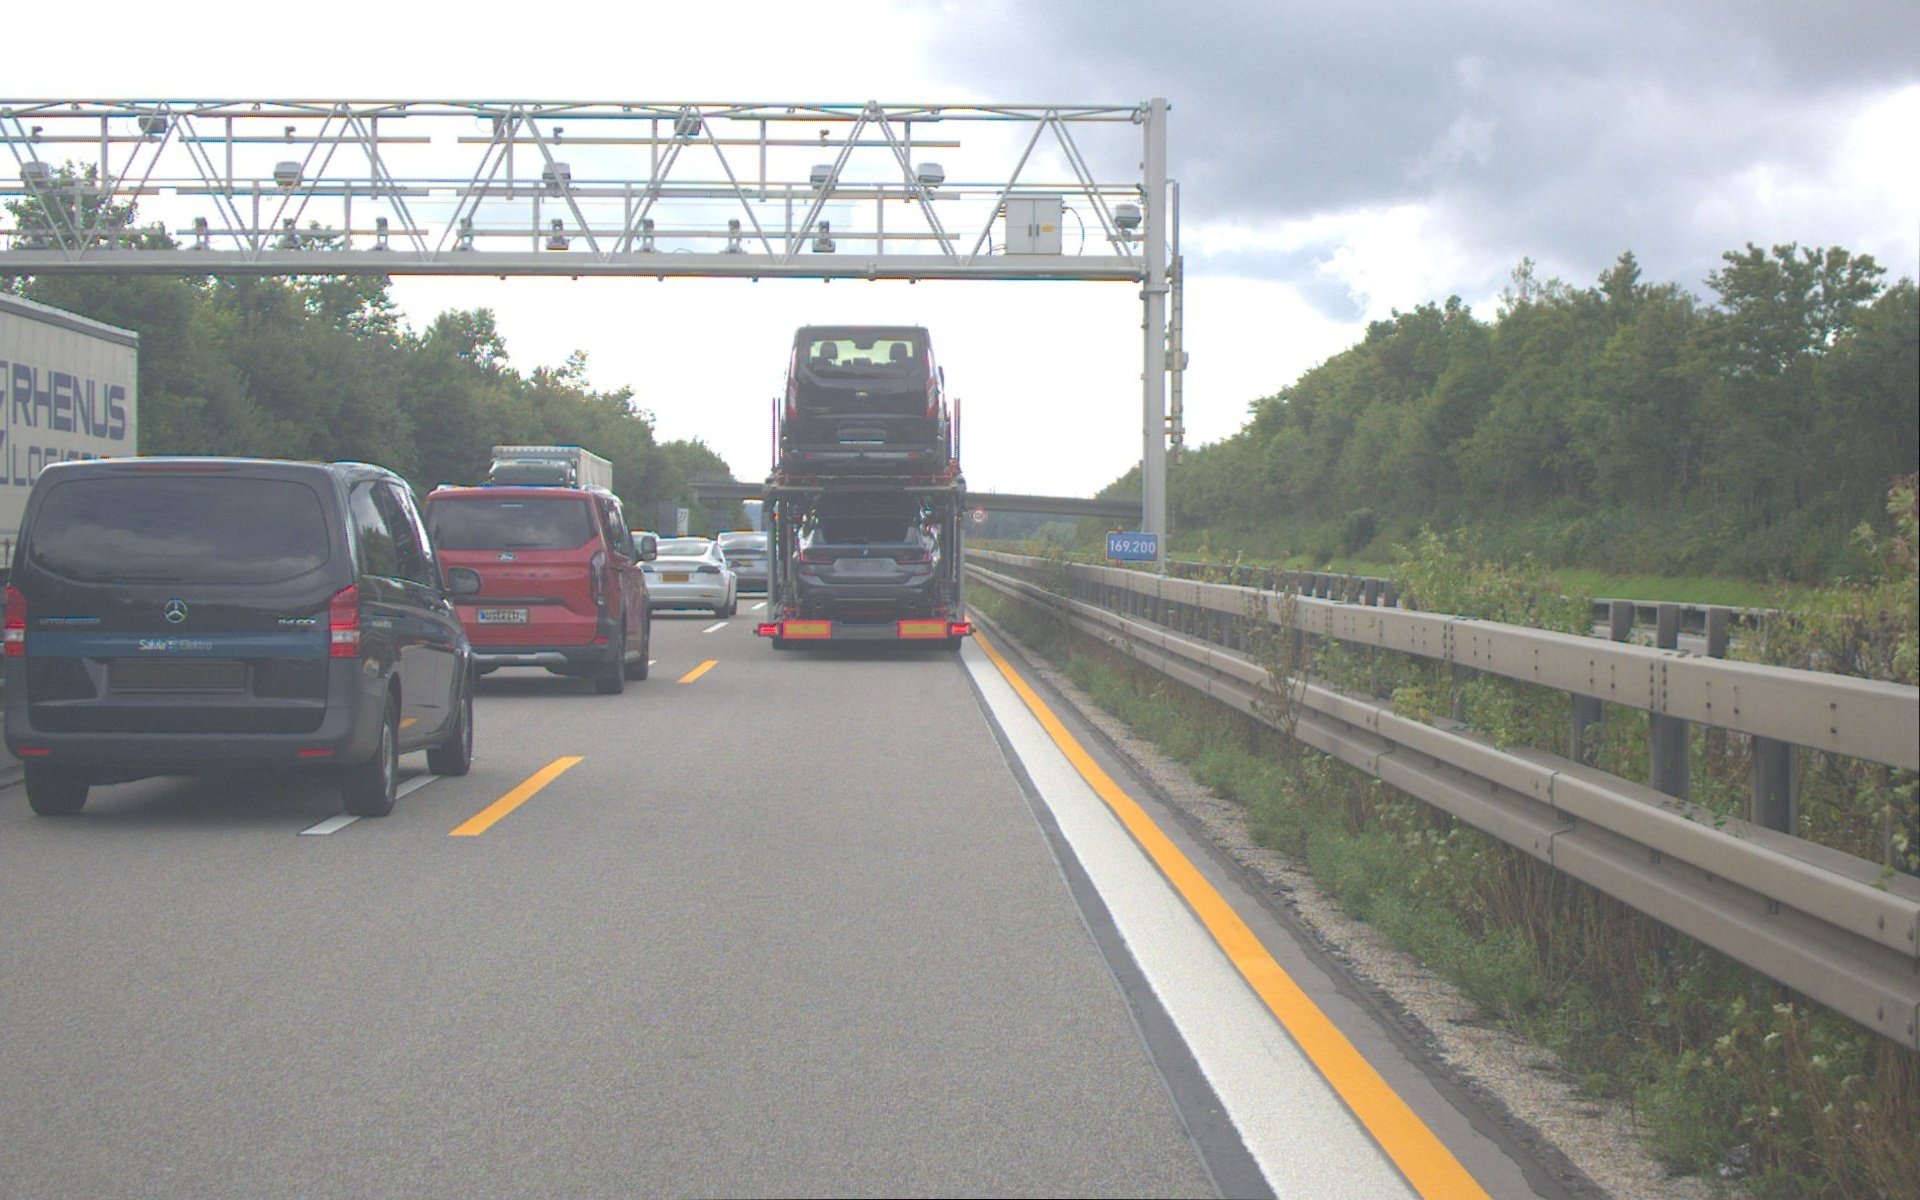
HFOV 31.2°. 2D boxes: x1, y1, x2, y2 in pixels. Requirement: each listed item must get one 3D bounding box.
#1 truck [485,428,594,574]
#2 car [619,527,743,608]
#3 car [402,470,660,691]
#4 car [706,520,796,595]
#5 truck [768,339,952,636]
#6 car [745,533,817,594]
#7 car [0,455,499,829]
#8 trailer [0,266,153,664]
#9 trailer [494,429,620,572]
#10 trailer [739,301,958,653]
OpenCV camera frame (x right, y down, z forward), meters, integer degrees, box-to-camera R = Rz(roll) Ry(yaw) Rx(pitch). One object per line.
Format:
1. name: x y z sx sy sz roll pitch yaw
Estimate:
1. truck: -12.381 -2.921 101.480 2.598 4.140 5.621 1 1 -1
2. car: -5.076 -0.607 63.066 2.031 1.426 4.578 0 1 -2
3. car: -4.112 -0.218 33.624 2.031 2.007 4.578 0 1 -1
4. car: -5.030 -1.041 83.235 2.031 1.751 4.578 0 1 -2
5. truck: -1.413 -1.599 50.557 2.515 4.091 5.685 1 1 -1
6. car: -5.278 -1.090 101.715 2.031 1.751 4.578 0 1 -2
7. car: -3.961 0.160 19.688 1.993 1.837 5.610 0 1 -1
8. trailer: -11.288 -1.429 36.151 2.598 4.140 13.993 1 1 -1
9. trailer: -12.545 -3.110 108.137 2.598 4.140 13.993 1 1 -1
10. trailer: -1.359 -1.527 45.810 2.515 4.091 11.114 1 1 -1
